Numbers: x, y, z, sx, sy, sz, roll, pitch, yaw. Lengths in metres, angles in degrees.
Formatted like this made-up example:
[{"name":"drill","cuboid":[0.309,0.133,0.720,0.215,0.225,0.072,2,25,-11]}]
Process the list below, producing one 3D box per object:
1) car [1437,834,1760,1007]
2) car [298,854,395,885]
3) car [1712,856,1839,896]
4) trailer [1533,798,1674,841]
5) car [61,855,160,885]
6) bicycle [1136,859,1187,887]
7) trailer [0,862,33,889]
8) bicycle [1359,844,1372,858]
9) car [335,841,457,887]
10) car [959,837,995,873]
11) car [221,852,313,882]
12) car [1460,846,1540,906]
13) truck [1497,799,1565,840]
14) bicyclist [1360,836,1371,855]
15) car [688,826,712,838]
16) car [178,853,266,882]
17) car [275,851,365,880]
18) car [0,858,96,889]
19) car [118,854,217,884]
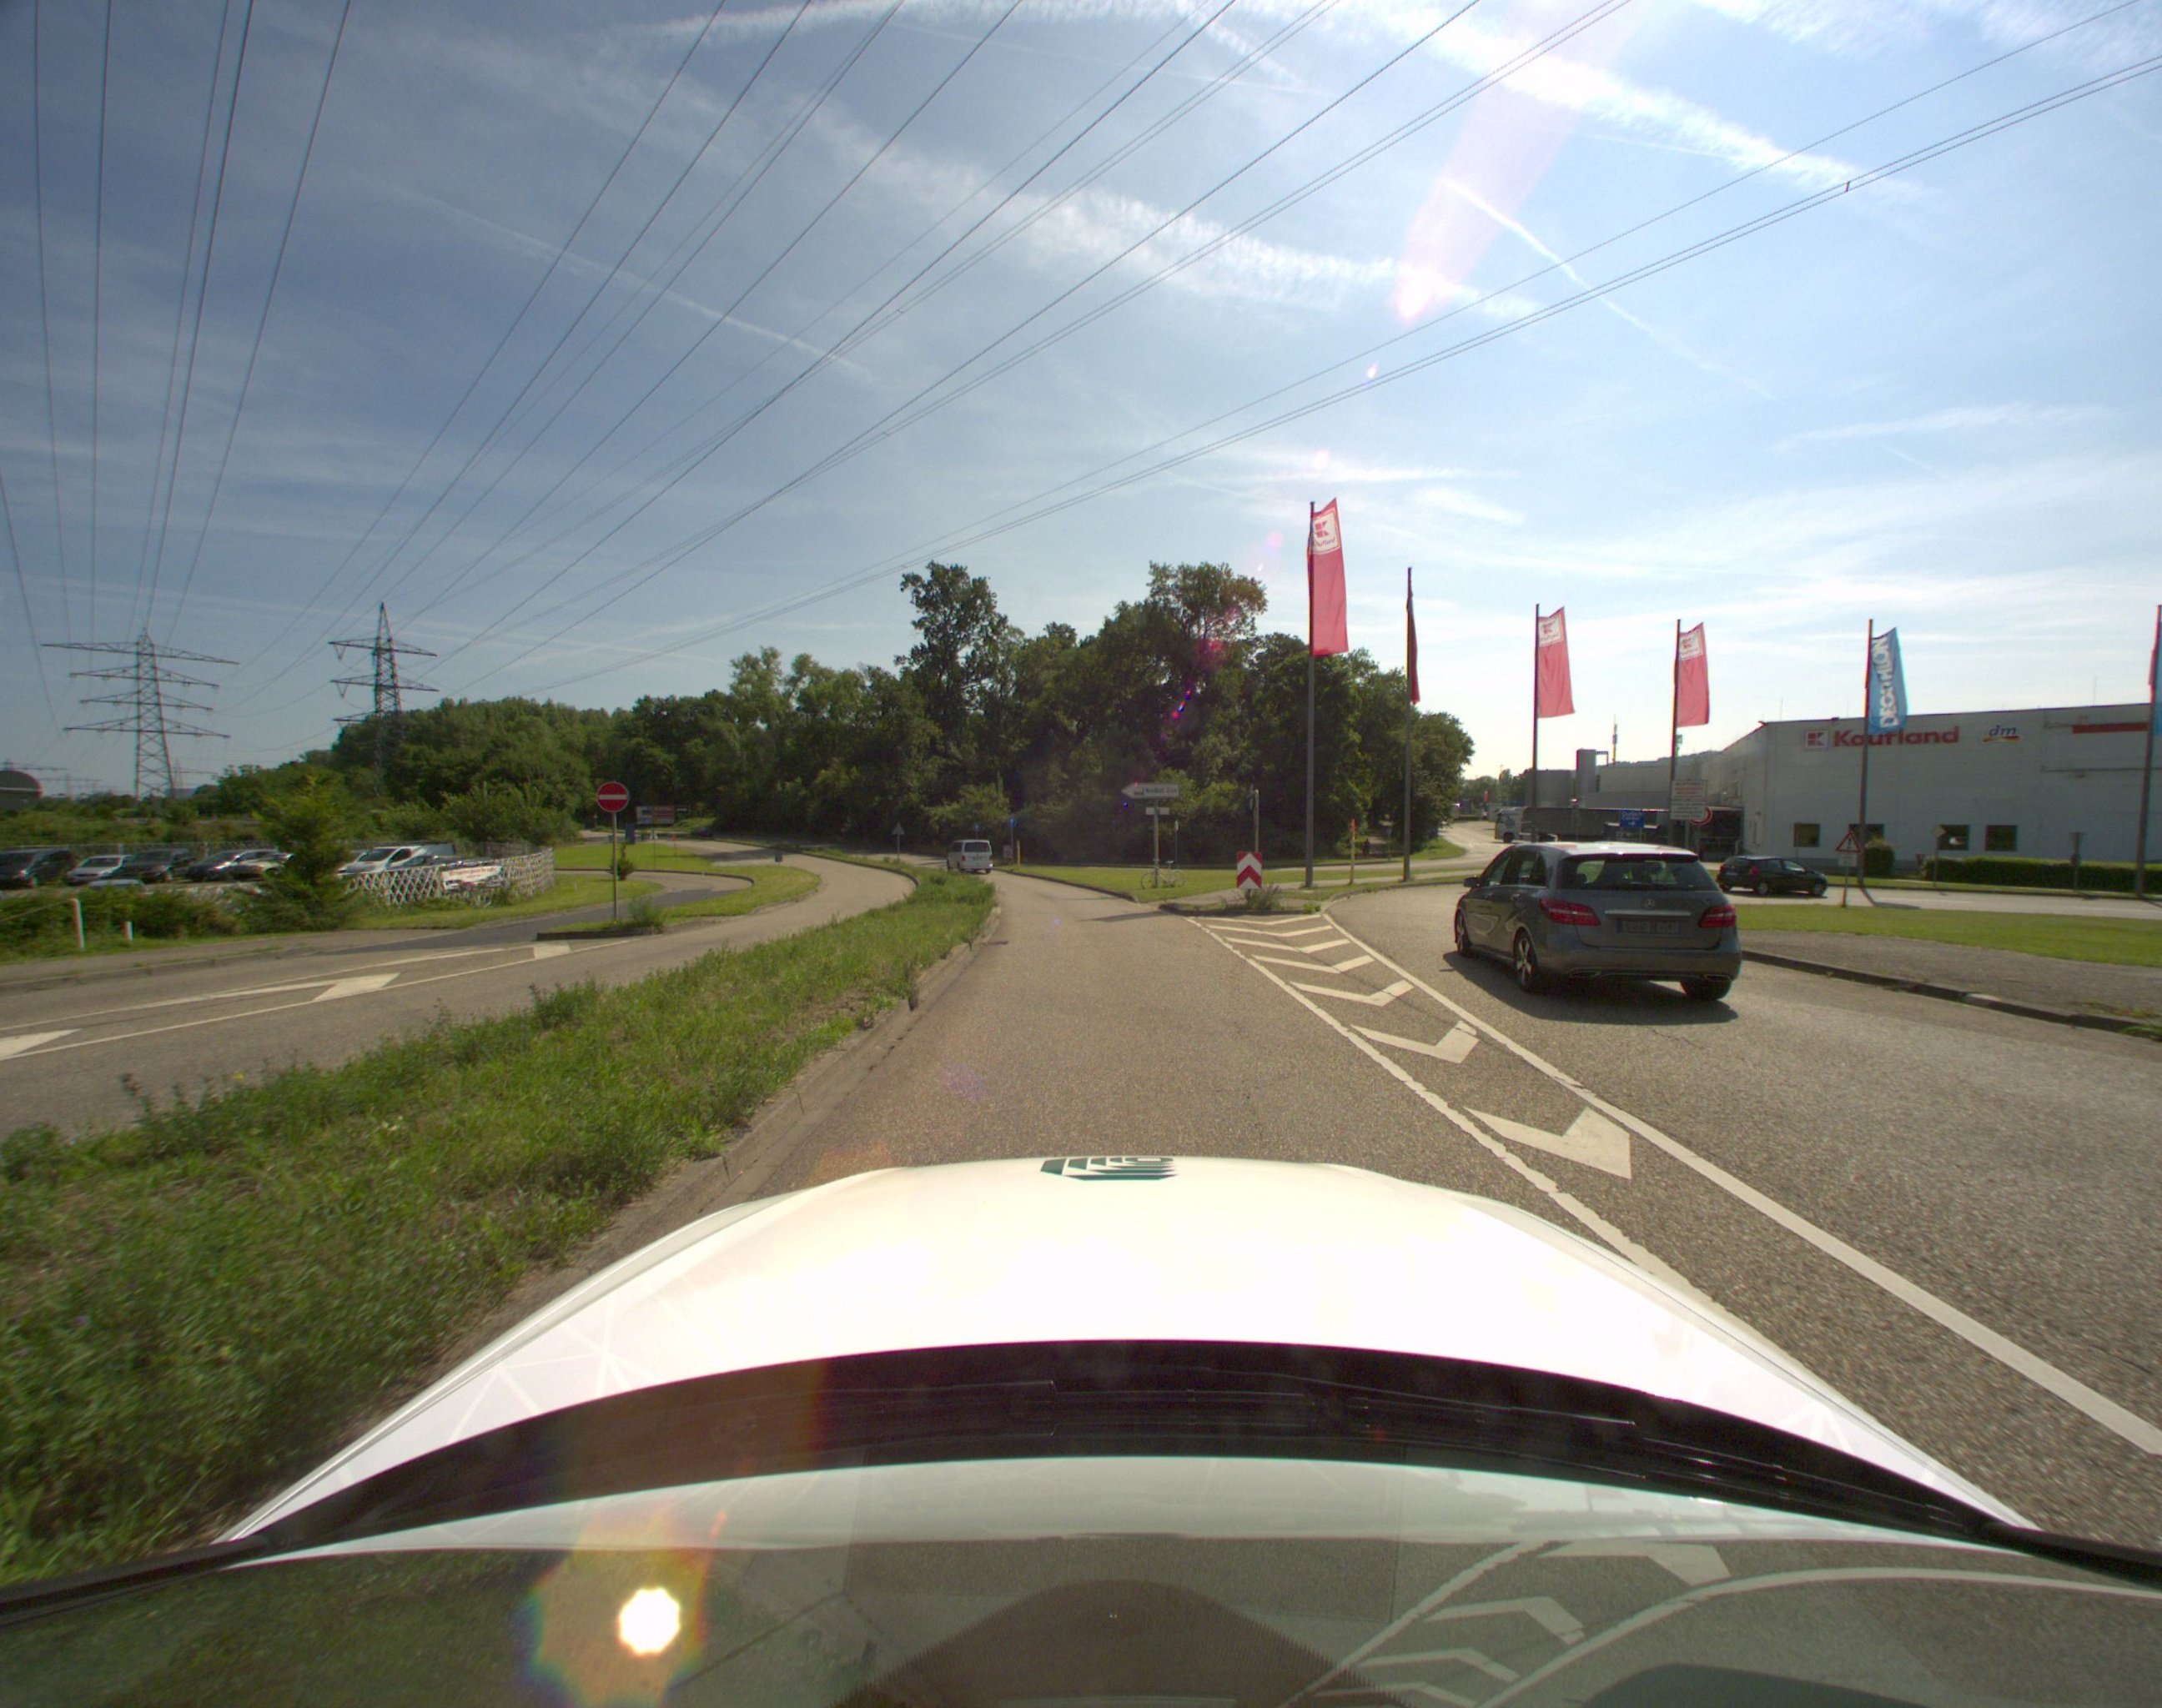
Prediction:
[{"name":"car","cuboid":[5.558,0.557,9.430,1.844,1.529,4.159,-1,1,12]},{"name":"car","cuboid":[-38.464,0.782,42.762,1.587,1.293,3.646,-1,3,4]},{"name":"car","cuboid":[27.828,0.875,32.682,3.724,1.331,1.775,3,2,-7]},{"name":"trailer","cuboid":[56.005,-3.725,87.818,12.553,4.415,3.781,1,4,31]},{"name":"car","cuboid":[-52.097,0.837,43.818,1.597,1.293,3.623,-2,3,-16]},{"name":"bicycle","cuboid":[2.772,0.640,27.992,1.789,0.889,0.269,-2,1,-20]},{"name":"trailer","cuboid":[-56.059,1.167,41.471,1.483,1.257,2.916,0,3,17]},{"name":"bicycle","cuboid":[22.908,-0.289,65.600,0.719,0.977,2.195,0,4,13]},{"name":"car","cuboid":[-35.625,0.441,42.535,1.679,2.040,4.752,0,3,11]},{"name":"car","cuboid":[-6.134,0.033,48.270,2.037,2.013,3.991,-1,1,-7]},{"name":"car","cuboid":[-44.552,0.680,44.676,1.593,1.293,3.632,-1,3,-8]},{"name":"car","cuboid":[12.379,0.567,24.017,1.839,1.529,4.169,4,2,28]},{"name":"truck","cuboid":[50.381,-3.848,91.243,6.483,4.415,3.781,1,4,31]},{"name":"bicyclist","cuboid":[22.906,-0.698,65.574,0.670,1.533,0.850,0,3,12]},{"name":"car","cuboid":[-54.810,-3.176,117.043,3.610,1.566,1.663,2,4,40]},{"name":"car","cuboid":[-46.986,0.716,44.650,1.597,1.293,3.623,-2,3,-16]},{"name":"car","cuboid":[-42.243,0.609,45.321,1.590,1.293,3.639,-1,3,-3]},{"name":"car","cuboid":[-53.735,0.958,42.201,1.597,1.293,3.623,-2,3,-16]},{"name":"car","cuboid":[-49.164,0.789,43.949,1.594,1.293,3.629,-1,3,-11]}]
